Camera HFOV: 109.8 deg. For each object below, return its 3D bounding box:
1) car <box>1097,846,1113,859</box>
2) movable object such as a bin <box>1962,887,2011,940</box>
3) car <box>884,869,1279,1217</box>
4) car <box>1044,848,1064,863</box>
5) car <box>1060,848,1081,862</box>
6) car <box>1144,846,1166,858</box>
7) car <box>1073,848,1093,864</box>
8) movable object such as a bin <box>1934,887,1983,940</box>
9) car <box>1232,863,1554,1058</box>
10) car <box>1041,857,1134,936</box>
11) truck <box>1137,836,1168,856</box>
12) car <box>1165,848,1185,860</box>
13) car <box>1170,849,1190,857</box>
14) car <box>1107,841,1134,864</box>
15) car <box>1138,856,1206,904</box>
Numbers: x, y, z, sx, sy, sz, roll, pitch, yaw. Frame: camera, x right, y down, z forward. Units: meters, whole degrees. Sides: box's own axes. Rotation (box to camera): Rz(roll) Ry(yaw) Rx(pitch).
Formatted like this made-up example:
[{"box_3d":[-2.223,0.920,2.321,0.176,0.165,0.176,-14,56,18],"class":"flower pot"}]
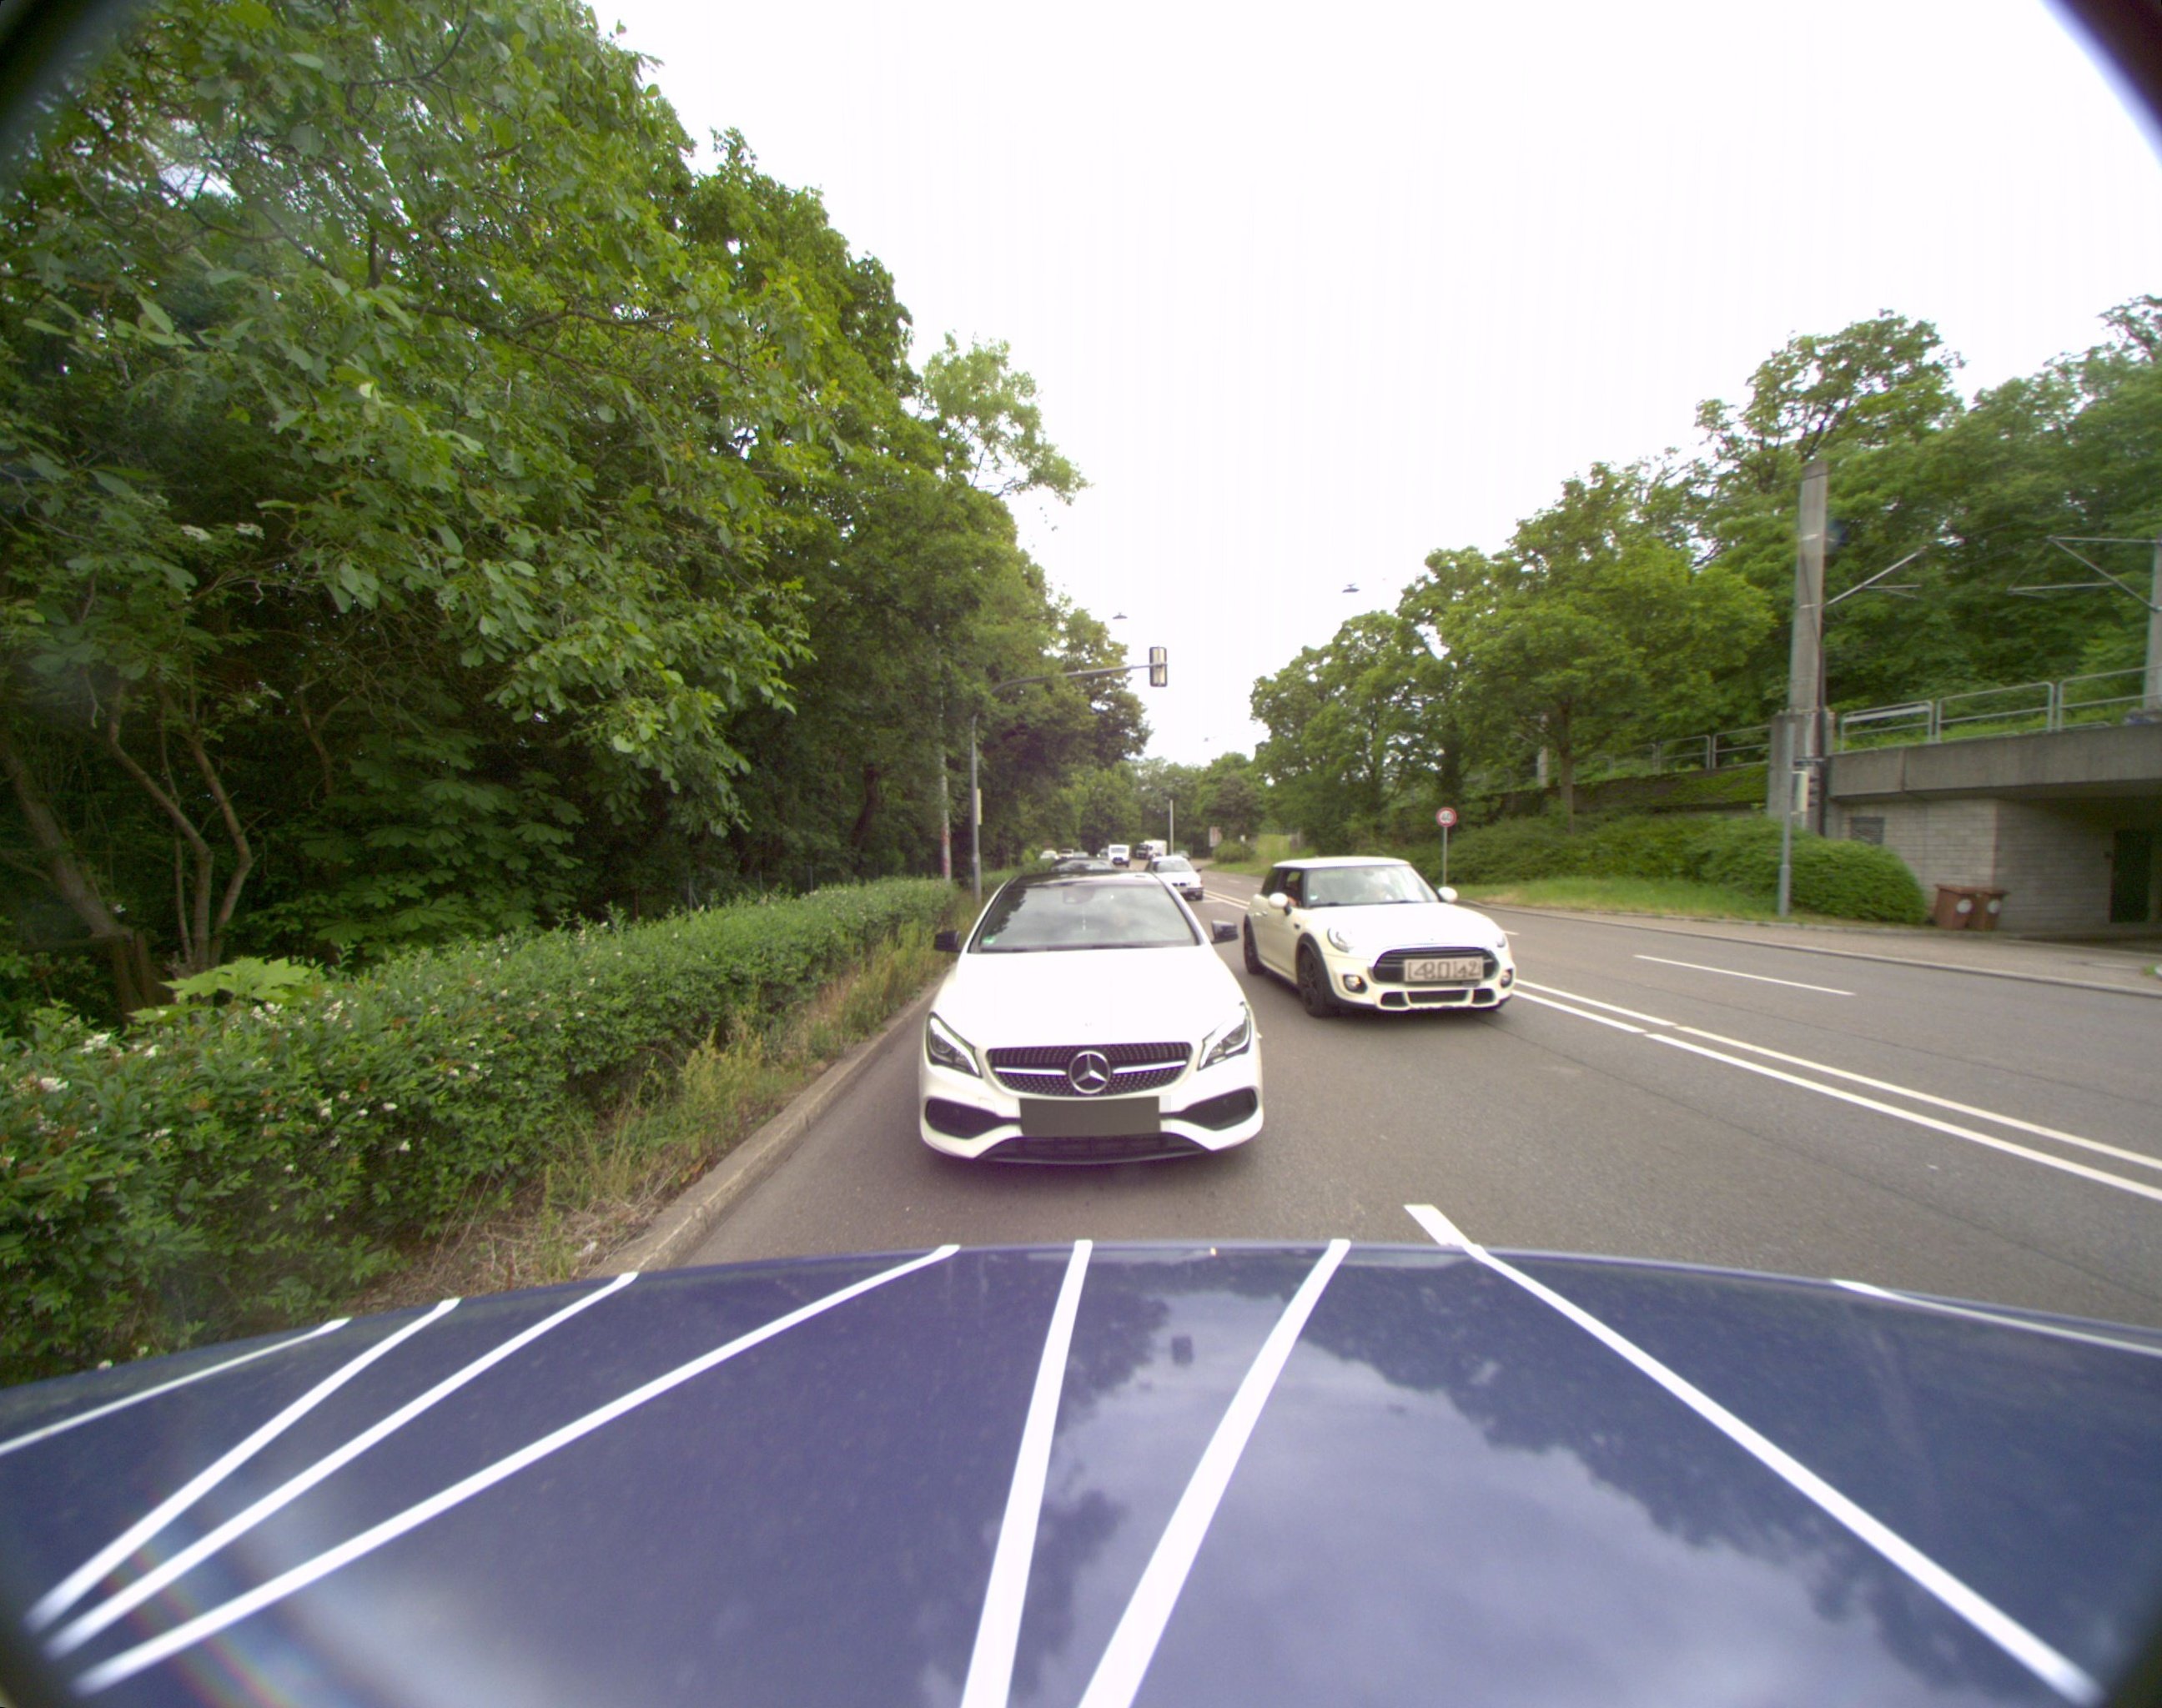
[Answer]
[{"box_3d":[3.088,-0.227,97.525,1.754,1.575,4.012,1,0,6],"class":"car"},{"box_3d":[19.030,1.240,15.976,0.419,1.057,0.503,0,1,-4],"class":"movable object such as a bin"},{"box_3d":[0.030,0.934,5.587,1.801,1.470,4.010,-2,0,1],"class":"car"},{"box_3d":[-2.681,0.153,74.904,1.765,1.433,3.891,1,0,0],"class":"car"},{"box_3d":[-1.245,0.068,89.943,1.754,1.575,4.013,1,0,10],"class":"car"},{"box_3d":[10.495,-0.337,107.038,1.851,1.641,4.364,1,0,22],"class":"car"},{"box_3d":[0.229,0.210,71.331,1.765,1.433,3.892,1,0,1],"class":"car"},{"box_3d":[18.374,1.238,15.911,0.419,1.057,0.503,0,1,-4],"class":"movable object such as a bin"},{"box_3d":[2.800,0.846,7.760,1.688,1.415,3.732,-1,0,-1],"class":"car"},{"box_3d":[0.153,0.845,17.018,1.755,1.417,4.010,3,1,1],"class":"car"},{"box_3d":[11.551,-1.289,122.236,2.195,3.137,6.665,2,1,33],"class":"truck"},{"box_3d":[14.422,-0.009,116.200,1.851,1.641,4.365,1,0,23],"class":"car"},{"box_3d":[17.077,-0.176,130.776,1.751,1.354,4.019,4,1,34],"class":"car"},{"box_3d":[4.031,-0.151,76.085,2.284,2.187,6.461,-1,0,6],"class":"car"},{"box_3d":[2.896,0.799,25.041,1.664,1.382,4.182,-1,0,-1],"class":"car"}]
